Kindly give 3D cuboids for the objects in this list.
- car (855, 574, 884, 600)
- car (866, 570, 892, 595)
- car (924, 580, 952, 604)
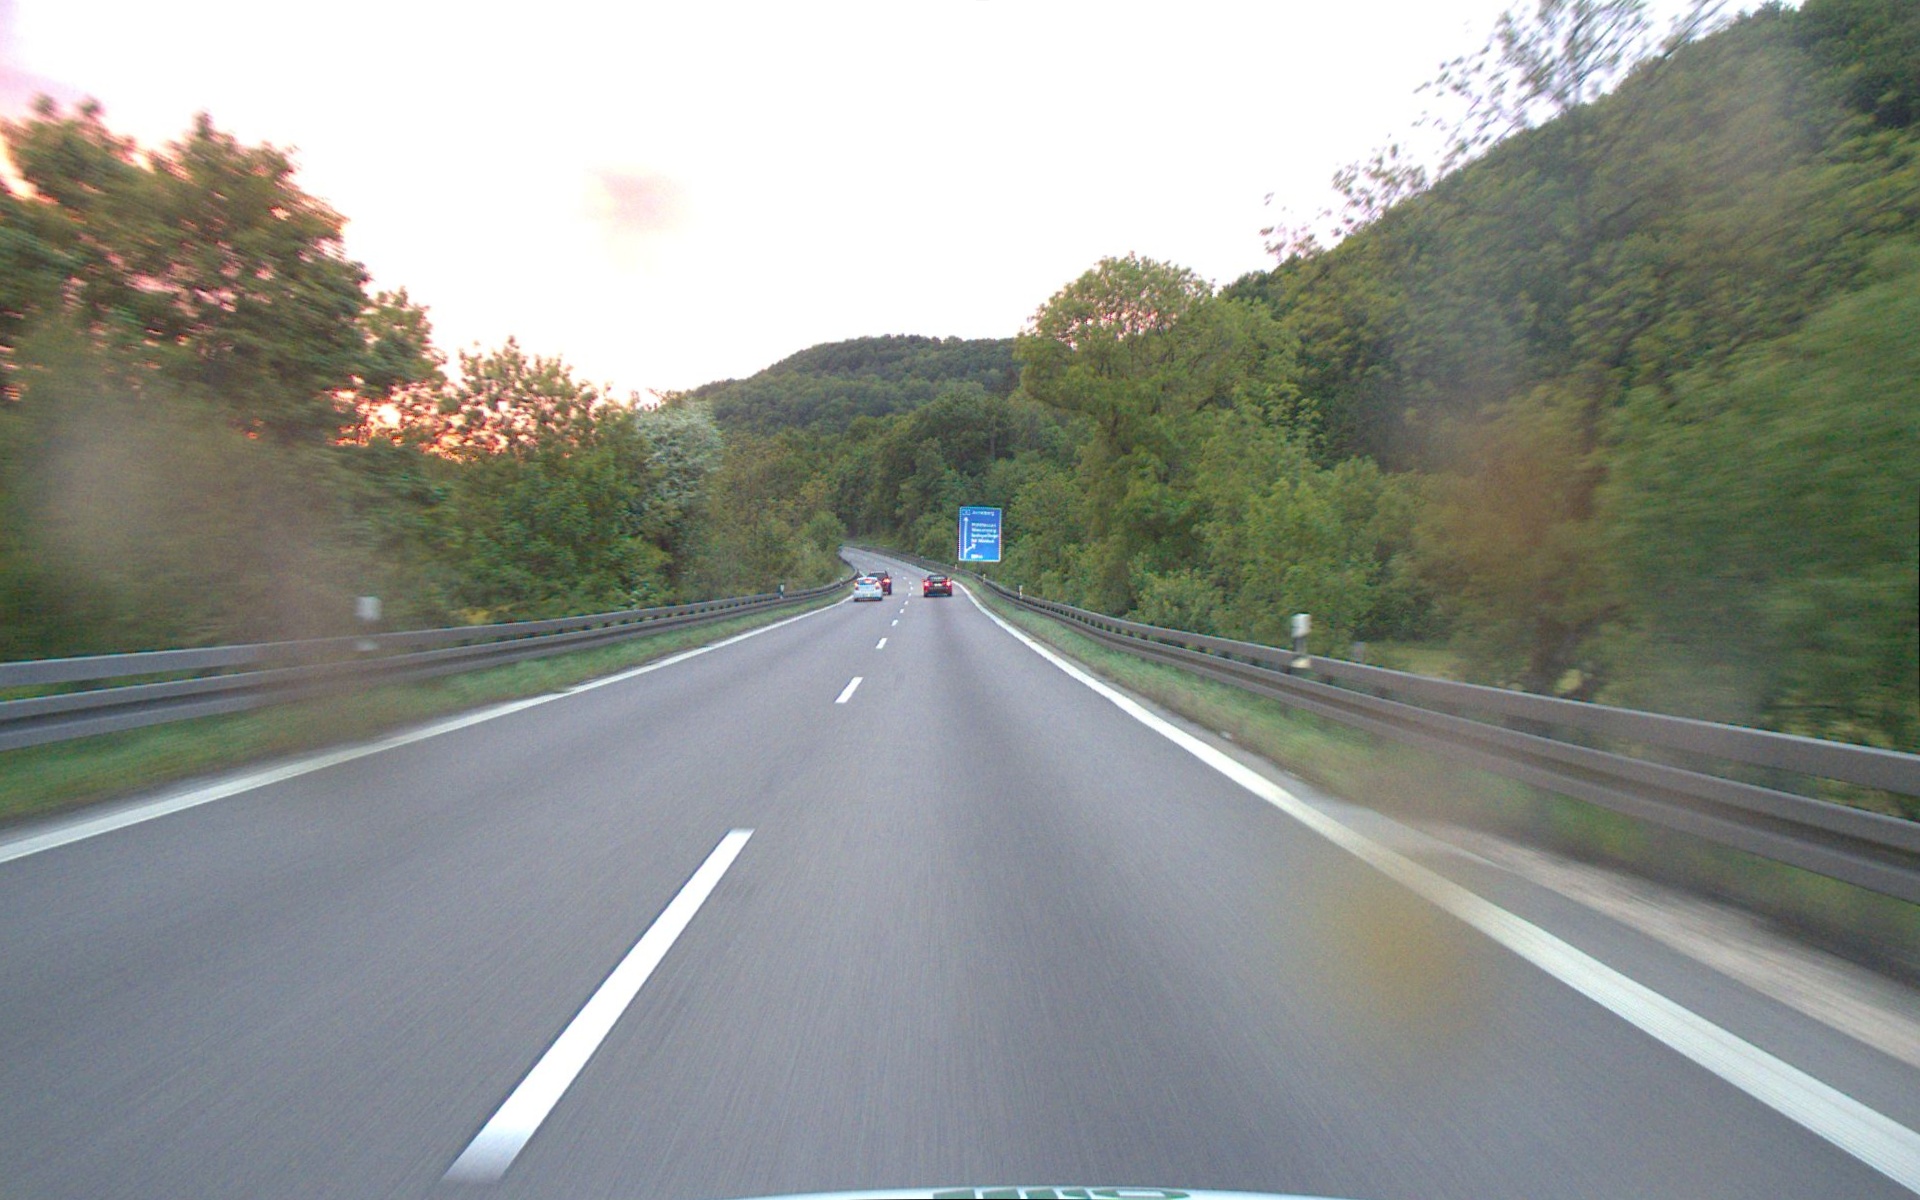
[{"bbox_3d":[-5.613,-0.836,103.139,1.683,1.527,3.999,0,1,-1],"label":"car"},{"bbox_3d":[-5.668,-1.246,116.193,1.683,1.663,3.999,0,1,-1],"label":"car"},{"bbox_3d":[-1.452,-0.551,109.006,1.840,1.492,3.999,0,1,-1],"label":"car"}]
